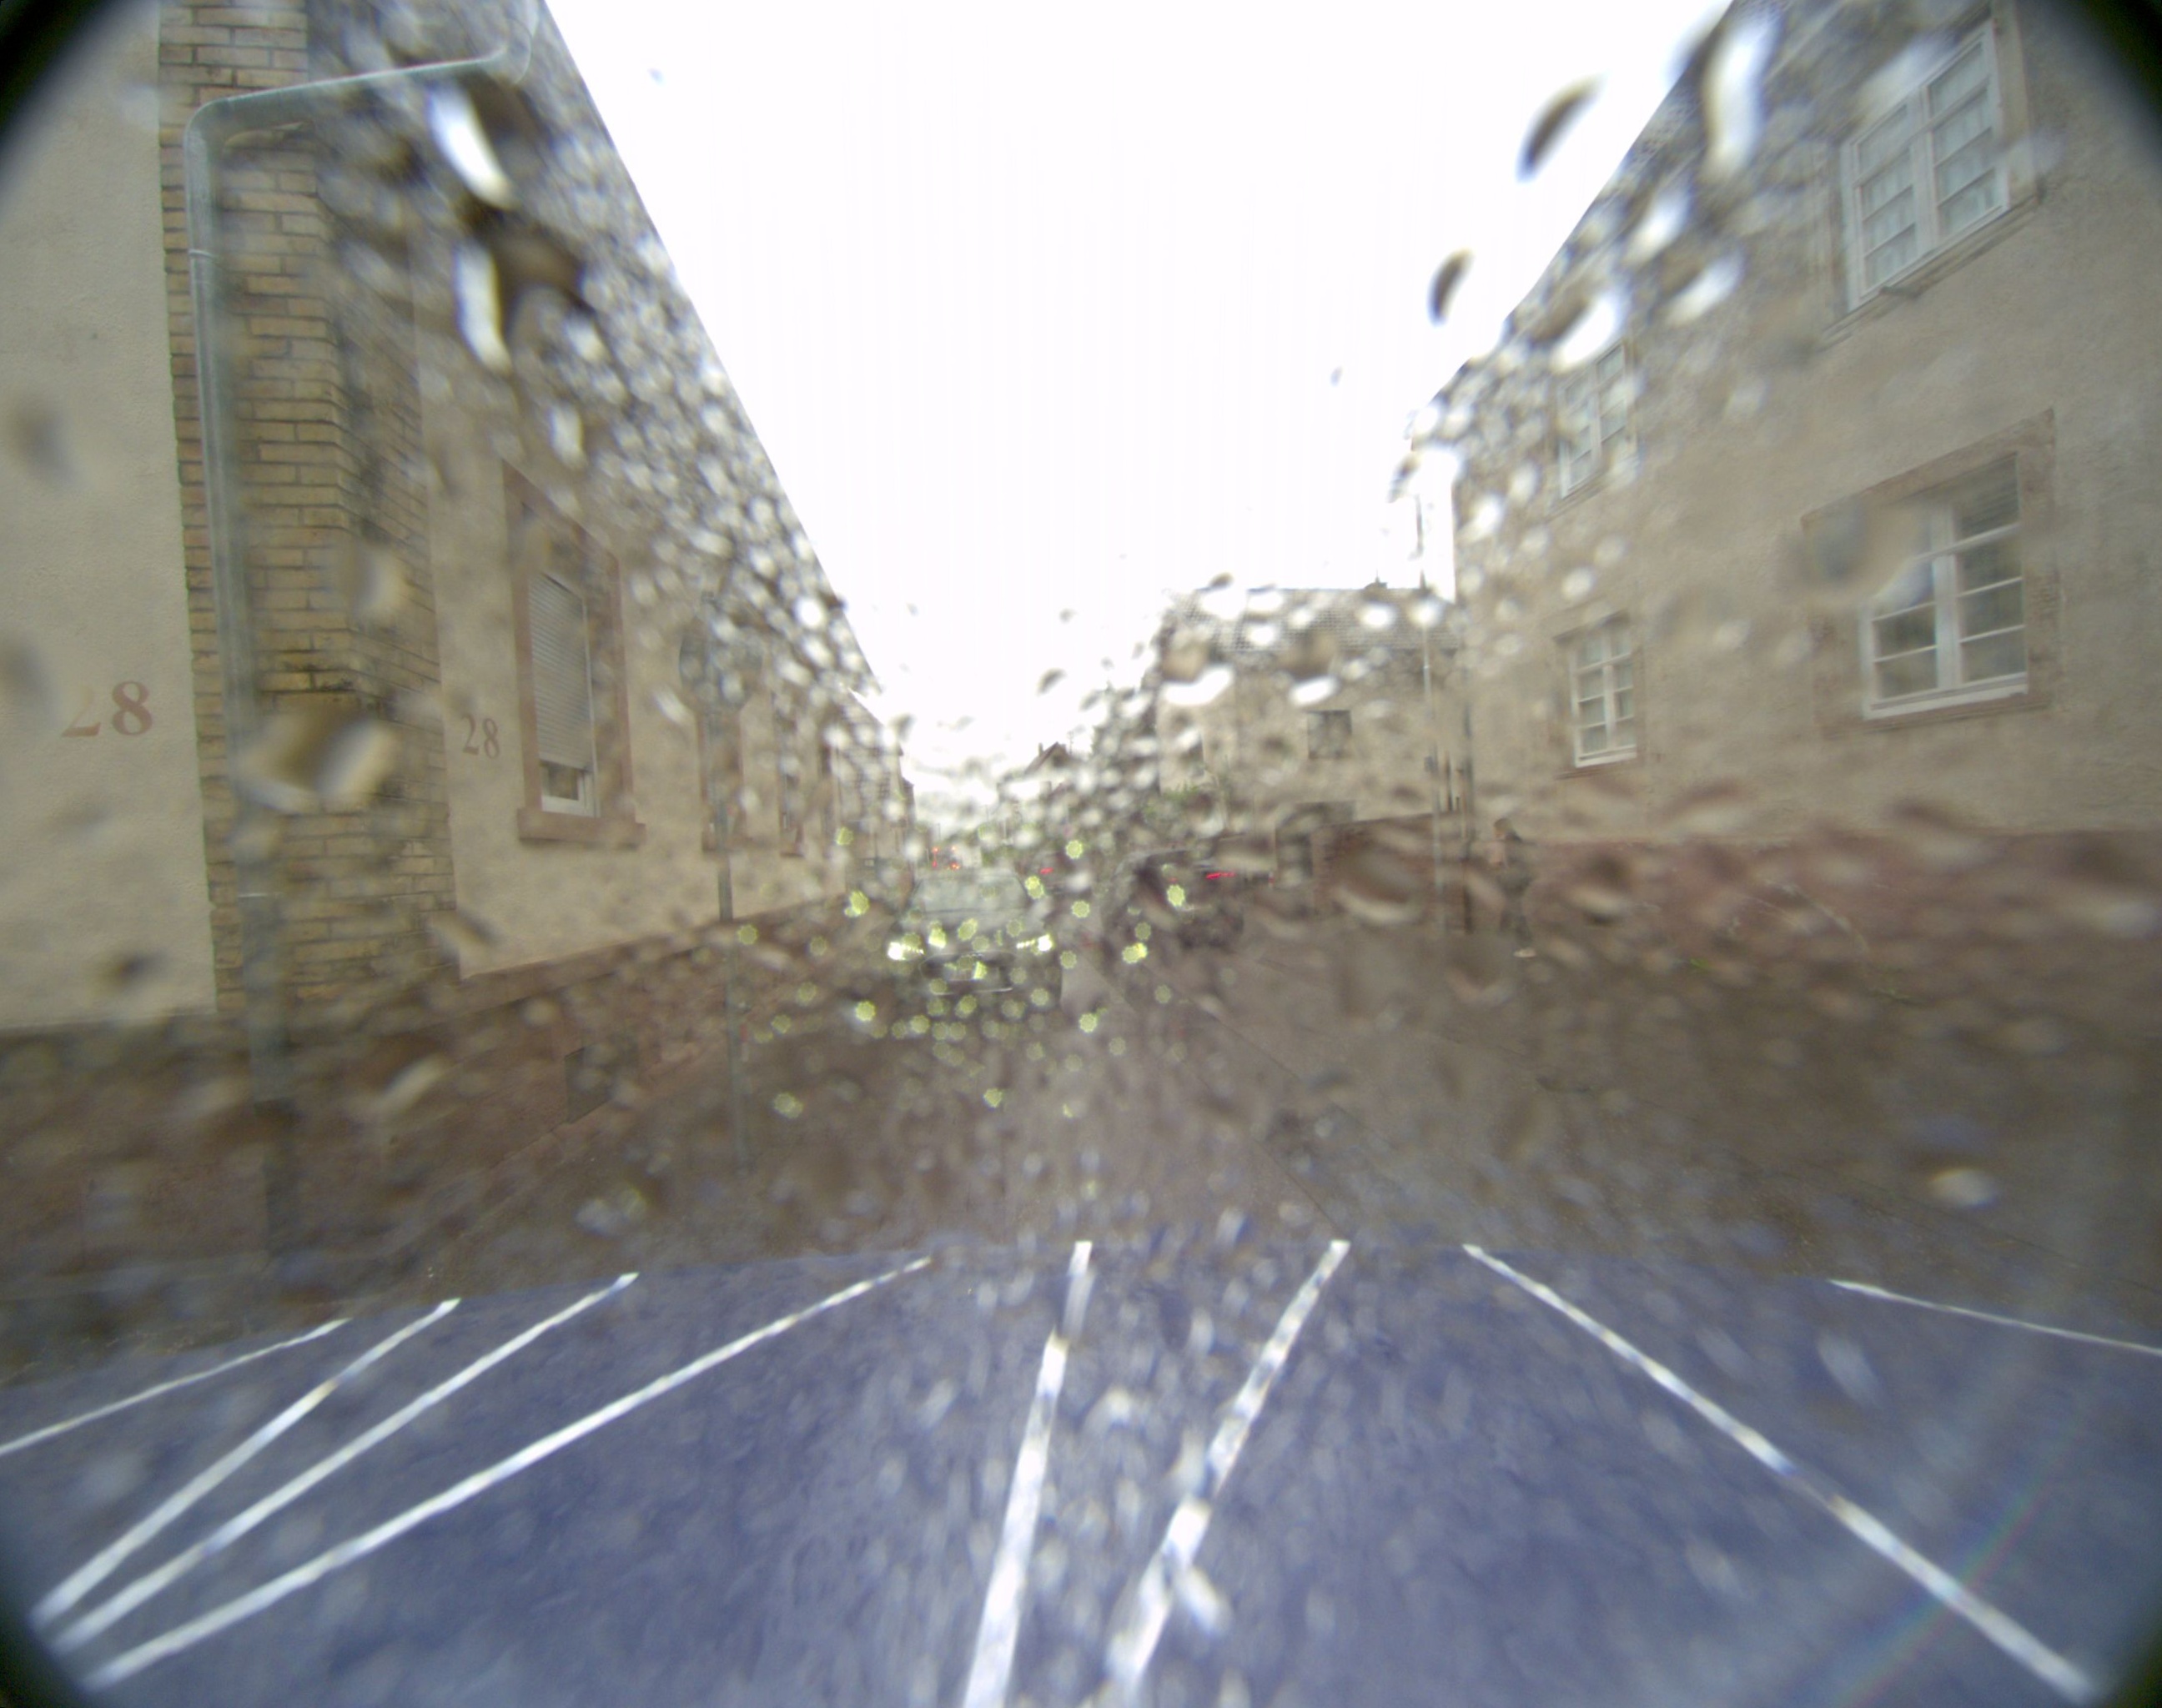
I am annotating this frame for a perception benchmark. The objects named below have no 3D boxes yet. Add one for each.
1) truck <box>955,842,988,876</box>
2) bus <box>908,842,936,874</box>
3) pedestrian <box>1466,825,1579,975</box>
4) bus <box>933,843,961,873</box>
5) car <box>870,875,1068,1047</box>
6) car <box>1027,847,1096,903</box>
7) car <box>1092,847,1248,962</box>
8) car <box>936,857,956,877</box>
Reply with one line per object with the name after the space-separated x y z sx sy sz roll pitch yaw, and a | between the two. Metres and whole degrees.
-8.711 0.400 60.094 2.001 2.490 5.643 -2 1 -14 | truck
-17.791 0.348 84.954 2.670 3.213 12.178 -2 1 -12 | bus
4.838 0.482 8.374 0.574 1.529 0.832 -5 1 -12 | pedestrian
-16.188 0.400 91.206 2.670 3.213 12.178 -2 1 -12 | bus
-1.329 1.019 8.987 1.740 1.363 4.098 -2 0 -9 | car
-0.792 0.664 26.781 1.786 1.655 4.422 -5 2 -8 | car
1.349 0.728 13.021 1.627 1.502 3.790 -6 1 -8 | car
-13.384 1.262 75.482 1.803 1.805 3.996 -2 1 -9 | car
